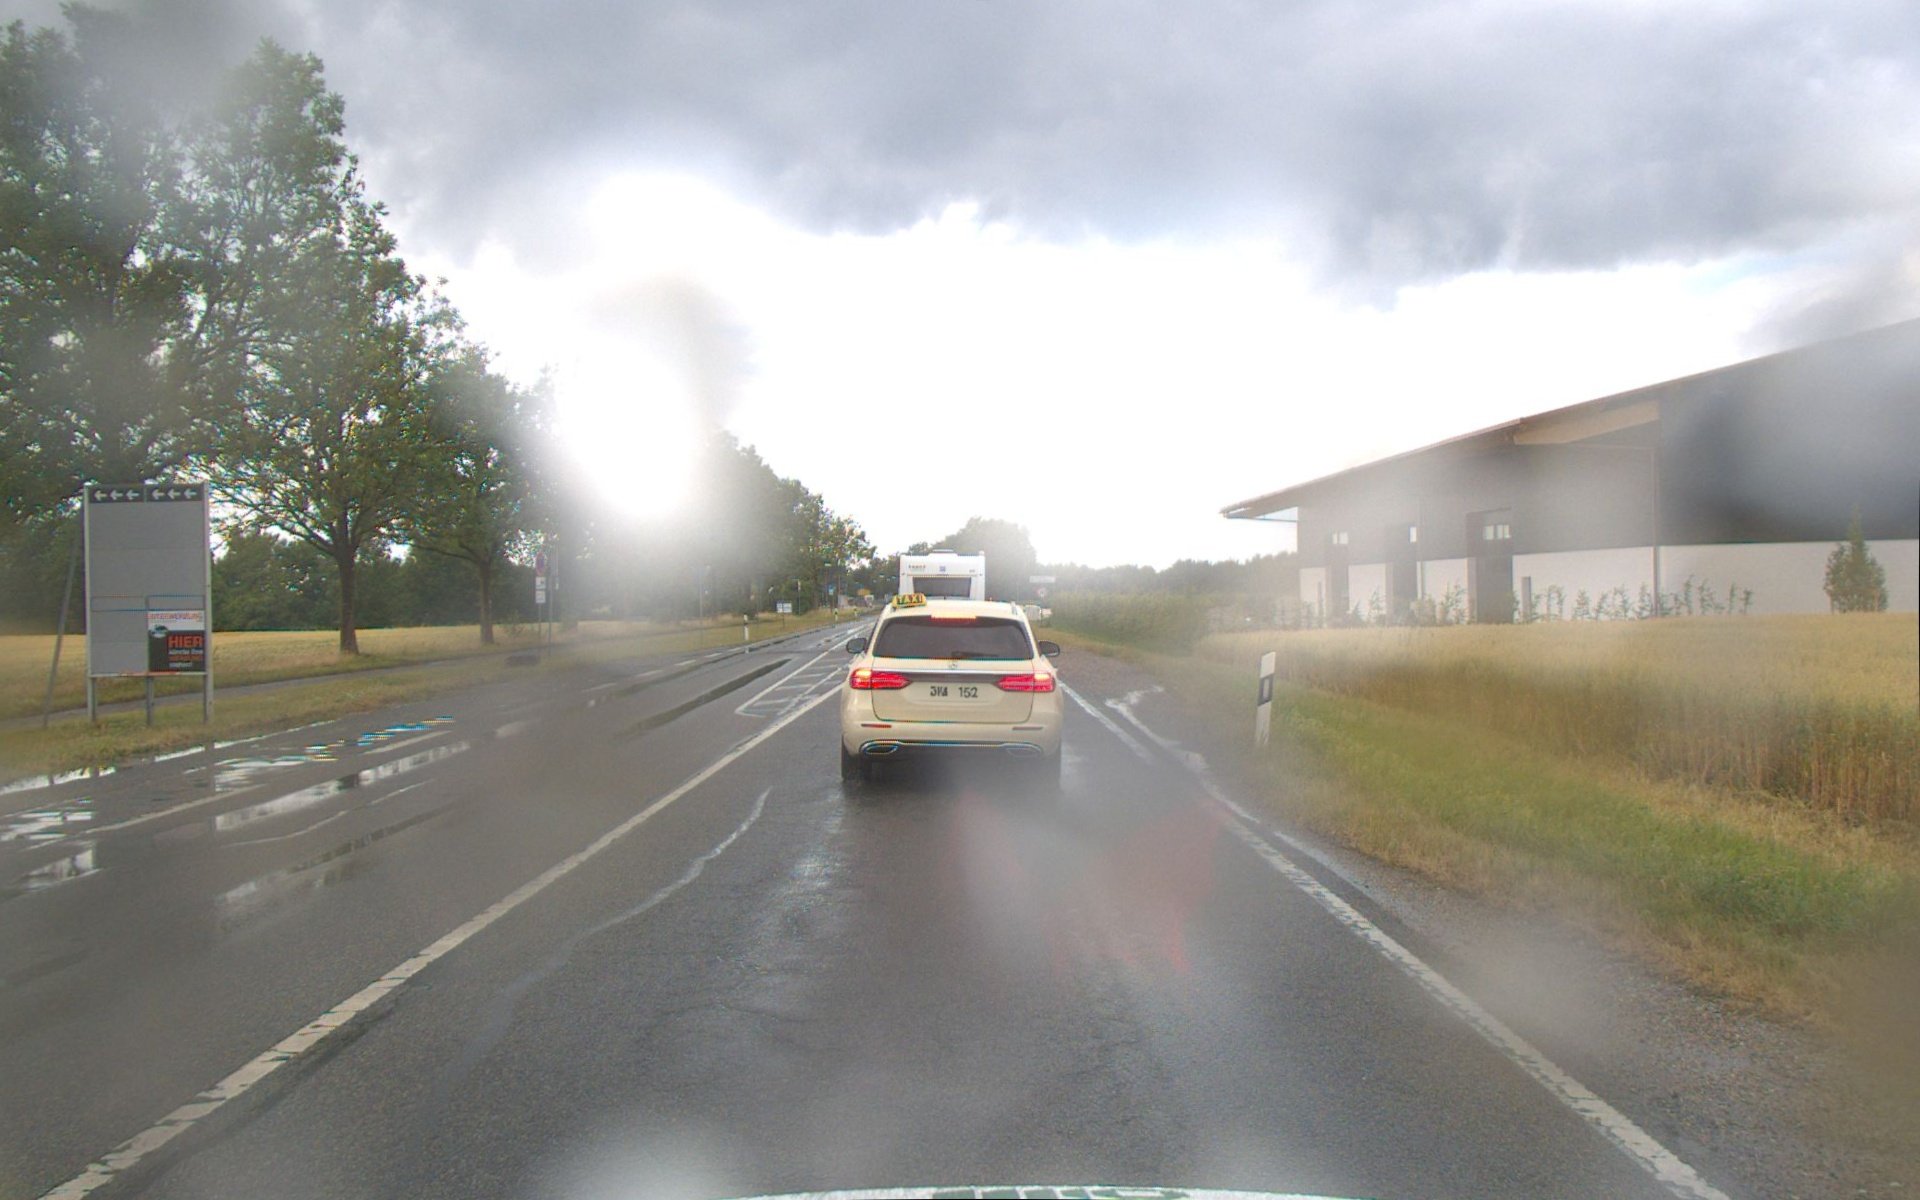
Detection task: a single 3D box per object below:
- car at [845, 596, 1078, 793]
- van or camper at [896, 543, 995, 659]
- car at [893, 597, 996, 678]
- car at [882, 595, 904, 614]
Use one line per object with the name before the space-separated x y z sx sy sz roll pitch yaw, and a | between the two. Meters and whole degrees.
car | 0.002 0.707 14.502 1.760 1.490 4.030 0 0 0
van or camper | -0.356 0.028 45.480 2.446 2.880 5.933 -2 0 0
car | -0.317 0.673 31.661 1.856 1.454 3.927 0 0 -1
car | -6.263 0.391 154.368 1.877 1.660 4.356 -2 0 -1
